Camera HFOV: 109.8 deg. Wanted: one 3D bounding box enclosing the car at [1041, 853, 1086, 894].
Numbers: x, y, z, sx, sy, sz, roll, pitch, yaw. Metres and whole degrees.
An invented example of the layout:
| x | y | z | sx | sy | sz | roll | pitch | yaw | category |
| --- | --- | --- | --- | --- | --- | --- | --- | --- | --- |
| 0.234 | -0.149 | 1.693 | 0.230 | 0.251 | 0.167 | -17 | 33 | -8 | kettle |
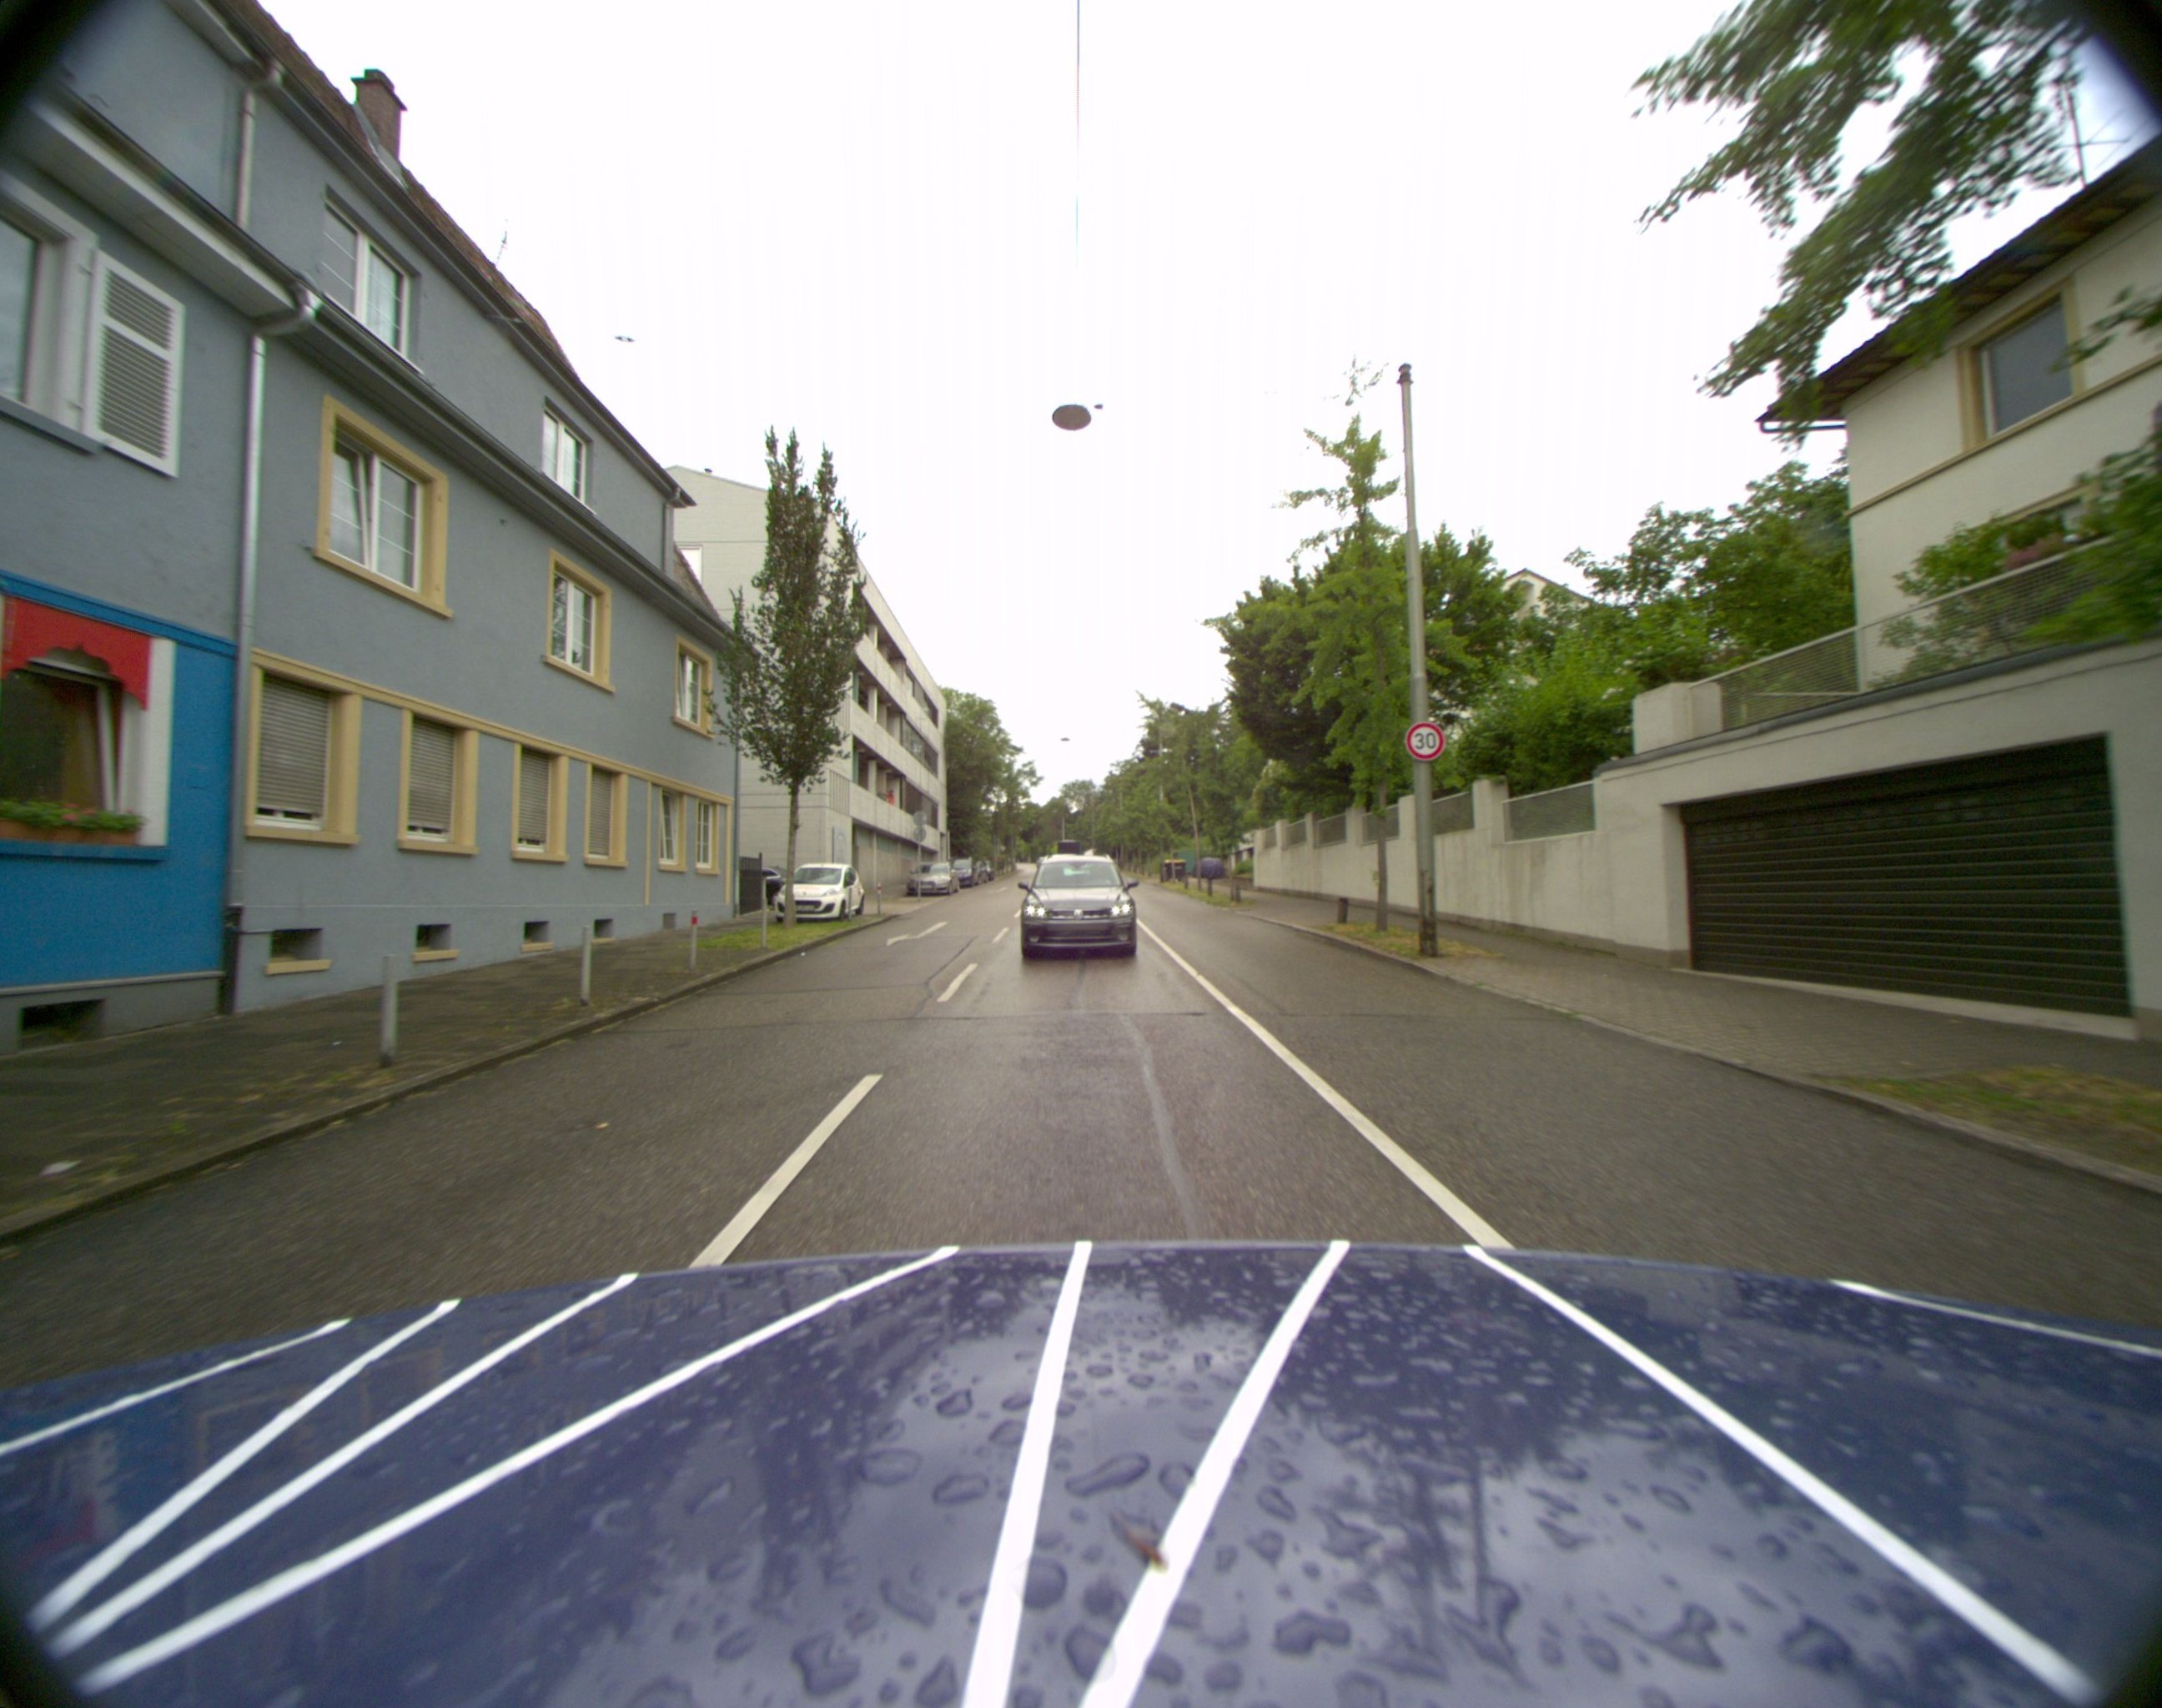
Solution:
| x | y | z | sx | sy | sz | roll | pitch | yaw | category |
| --- | --- | --- | --- | --- | --- | --- | --- | --- | --- |
| -0.713 | 0.775 | 32.734 | 1.786 | 1.632 | 4.199 | -1 | 0 | -1 | car |

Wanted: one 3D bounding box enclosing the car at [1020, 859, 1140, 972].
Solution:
| x | y | z | sx | sy | sz | roll | pitch | yaw | category |
| --- | --- | --- | --- | --- | --- | --- | --- | --- | --- |
| -0.034 | 0.947 | 13.551 | 1.786 | 1.632 | 4.199 | -1 | 0 | -1 | car |

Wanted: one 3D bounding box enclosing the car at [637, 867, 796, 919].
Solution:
| x | y | z | sx | sy | sz | roll | pitch | yaw | category |
| --- | --- | --- | --- | --- | --- | --- | --- | --- | --- |
| -11.715 | 1.216 | 24.751 | 4.370 | 1.399 | 1.806 | -2 | 1 | -16 | car |

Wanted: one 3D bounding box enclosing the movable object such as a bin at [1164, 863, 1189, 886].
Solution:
| x | y | z | sx | sy | sz | roll | pitch | yaw | category |
| --- | --- | --- | --- | --- | --- | --- | --- | --- | --- |
| 5.759 | 1.261 | 46.053 | 1.227 | 1.342 | 1.122 | -1 | 1 | -9 | movable object such as a bin |

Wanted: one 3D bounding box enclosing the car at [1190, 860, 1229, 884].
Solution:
| x | y | z | sx | sy | sz | roll | pitch | yaw | category |
| --- | --- | --- | --- | --- | --- | --- | --- | --- | --- |
| 9.155 | 1.257 | 54.472 | 1.856 | 1.482 | 3.864 | 4 | 0 | -2 | car |

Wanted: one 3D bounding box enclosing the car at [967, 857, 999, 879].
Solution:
| x | y | z | sx | sy | sz | roll | pitch | yaw | category |
| --- | --- | --- | --- | --- | --- | --- | --- | --- | --- |
| -6.778 | 0.933 | 52.902 | 1.843 | 1.436 | 4.154 | 1 | 0 | -2 | car |

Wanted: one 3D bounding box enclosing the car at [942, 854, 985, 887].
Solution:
| x | y | z | sx | sy | sz | roll | pitch | yaw | category |
| --- | --- | --- | --- | --- | --- | --- | --- | --- | --- |
| -6.466 | 0.866 | 42.245 | 1.749 | 1.665 | 4.344 | -1 | 0 | -1 | car |

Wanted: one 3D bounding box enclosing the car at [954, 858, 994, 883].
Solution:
| x | y | z | sx | sy | sz | roll | pitch | yaw | category |
| --- | --- | --- | --- | --- | --- | --- | --- | --- | --- |
| -6.605 | 0.990 | 47.157 | 1.711 | 1.436 | 4.098 | -1 | 0 | 2 | car |

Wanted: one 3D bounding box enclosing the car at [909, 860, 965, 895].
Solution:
| x | y | z | sx | sy | sz | roll | pitch | yaw | category |
| --- | --- | --- | --- | --- | --- | --- | --- | --- | --- |
| -6.442 | 1.007 | 34.384 | 1.819 | 1.451 | 4.740 | 0 | 0 | -3 | car |

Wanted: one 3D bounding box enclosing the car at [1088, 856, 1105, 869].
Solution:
| x | y | z | sx | sy | sz | roll | pitch | yaw | category |
| --- | --- | --- | --- | --- | --- | --- | --- | --- | --- |
| 1.744 | 0.940 | 86.306 | 1.723 | 1.376 | 4.285 | -4 | 0 | 0 | car |

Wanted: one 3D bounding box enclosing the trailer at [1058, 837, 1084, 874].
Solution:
| x | y | z | sx | sy | sz | roll | pitch | yaw | category |
| --- | --- | --- | --- | --- | --- | --- | --- | --- | --- |
| -0.746 | 0.065 | 55.362 | 1.771 | 2.610 | 3.032 | -2 | 1 | -1 | trailer |

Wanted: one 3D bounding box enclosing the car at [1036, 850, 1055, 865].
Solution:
| x | y | z | sx | sy | sz | roll | pitch | yaw | category |
| --- | --- | --- | --- | --- | --- | --- | --- | --- | --- |
| -5.041 | 0.510 | 107.351 | 2.001 | 2.002 | 3.995 | -1 | 1 | -13 | car |

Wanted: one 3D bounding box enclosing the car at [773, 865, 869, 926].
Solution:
| x | y | z | sx | sy | sz | roll | pitch | yaw | category |
| --- | --- | --- | --- | --- | --- | --- | --- | --- | --- |
| -6.755 | 1.030 | 20.084 | 1.591 | 1.403 | 3.455 | 0 | 0 | -5 | car |
